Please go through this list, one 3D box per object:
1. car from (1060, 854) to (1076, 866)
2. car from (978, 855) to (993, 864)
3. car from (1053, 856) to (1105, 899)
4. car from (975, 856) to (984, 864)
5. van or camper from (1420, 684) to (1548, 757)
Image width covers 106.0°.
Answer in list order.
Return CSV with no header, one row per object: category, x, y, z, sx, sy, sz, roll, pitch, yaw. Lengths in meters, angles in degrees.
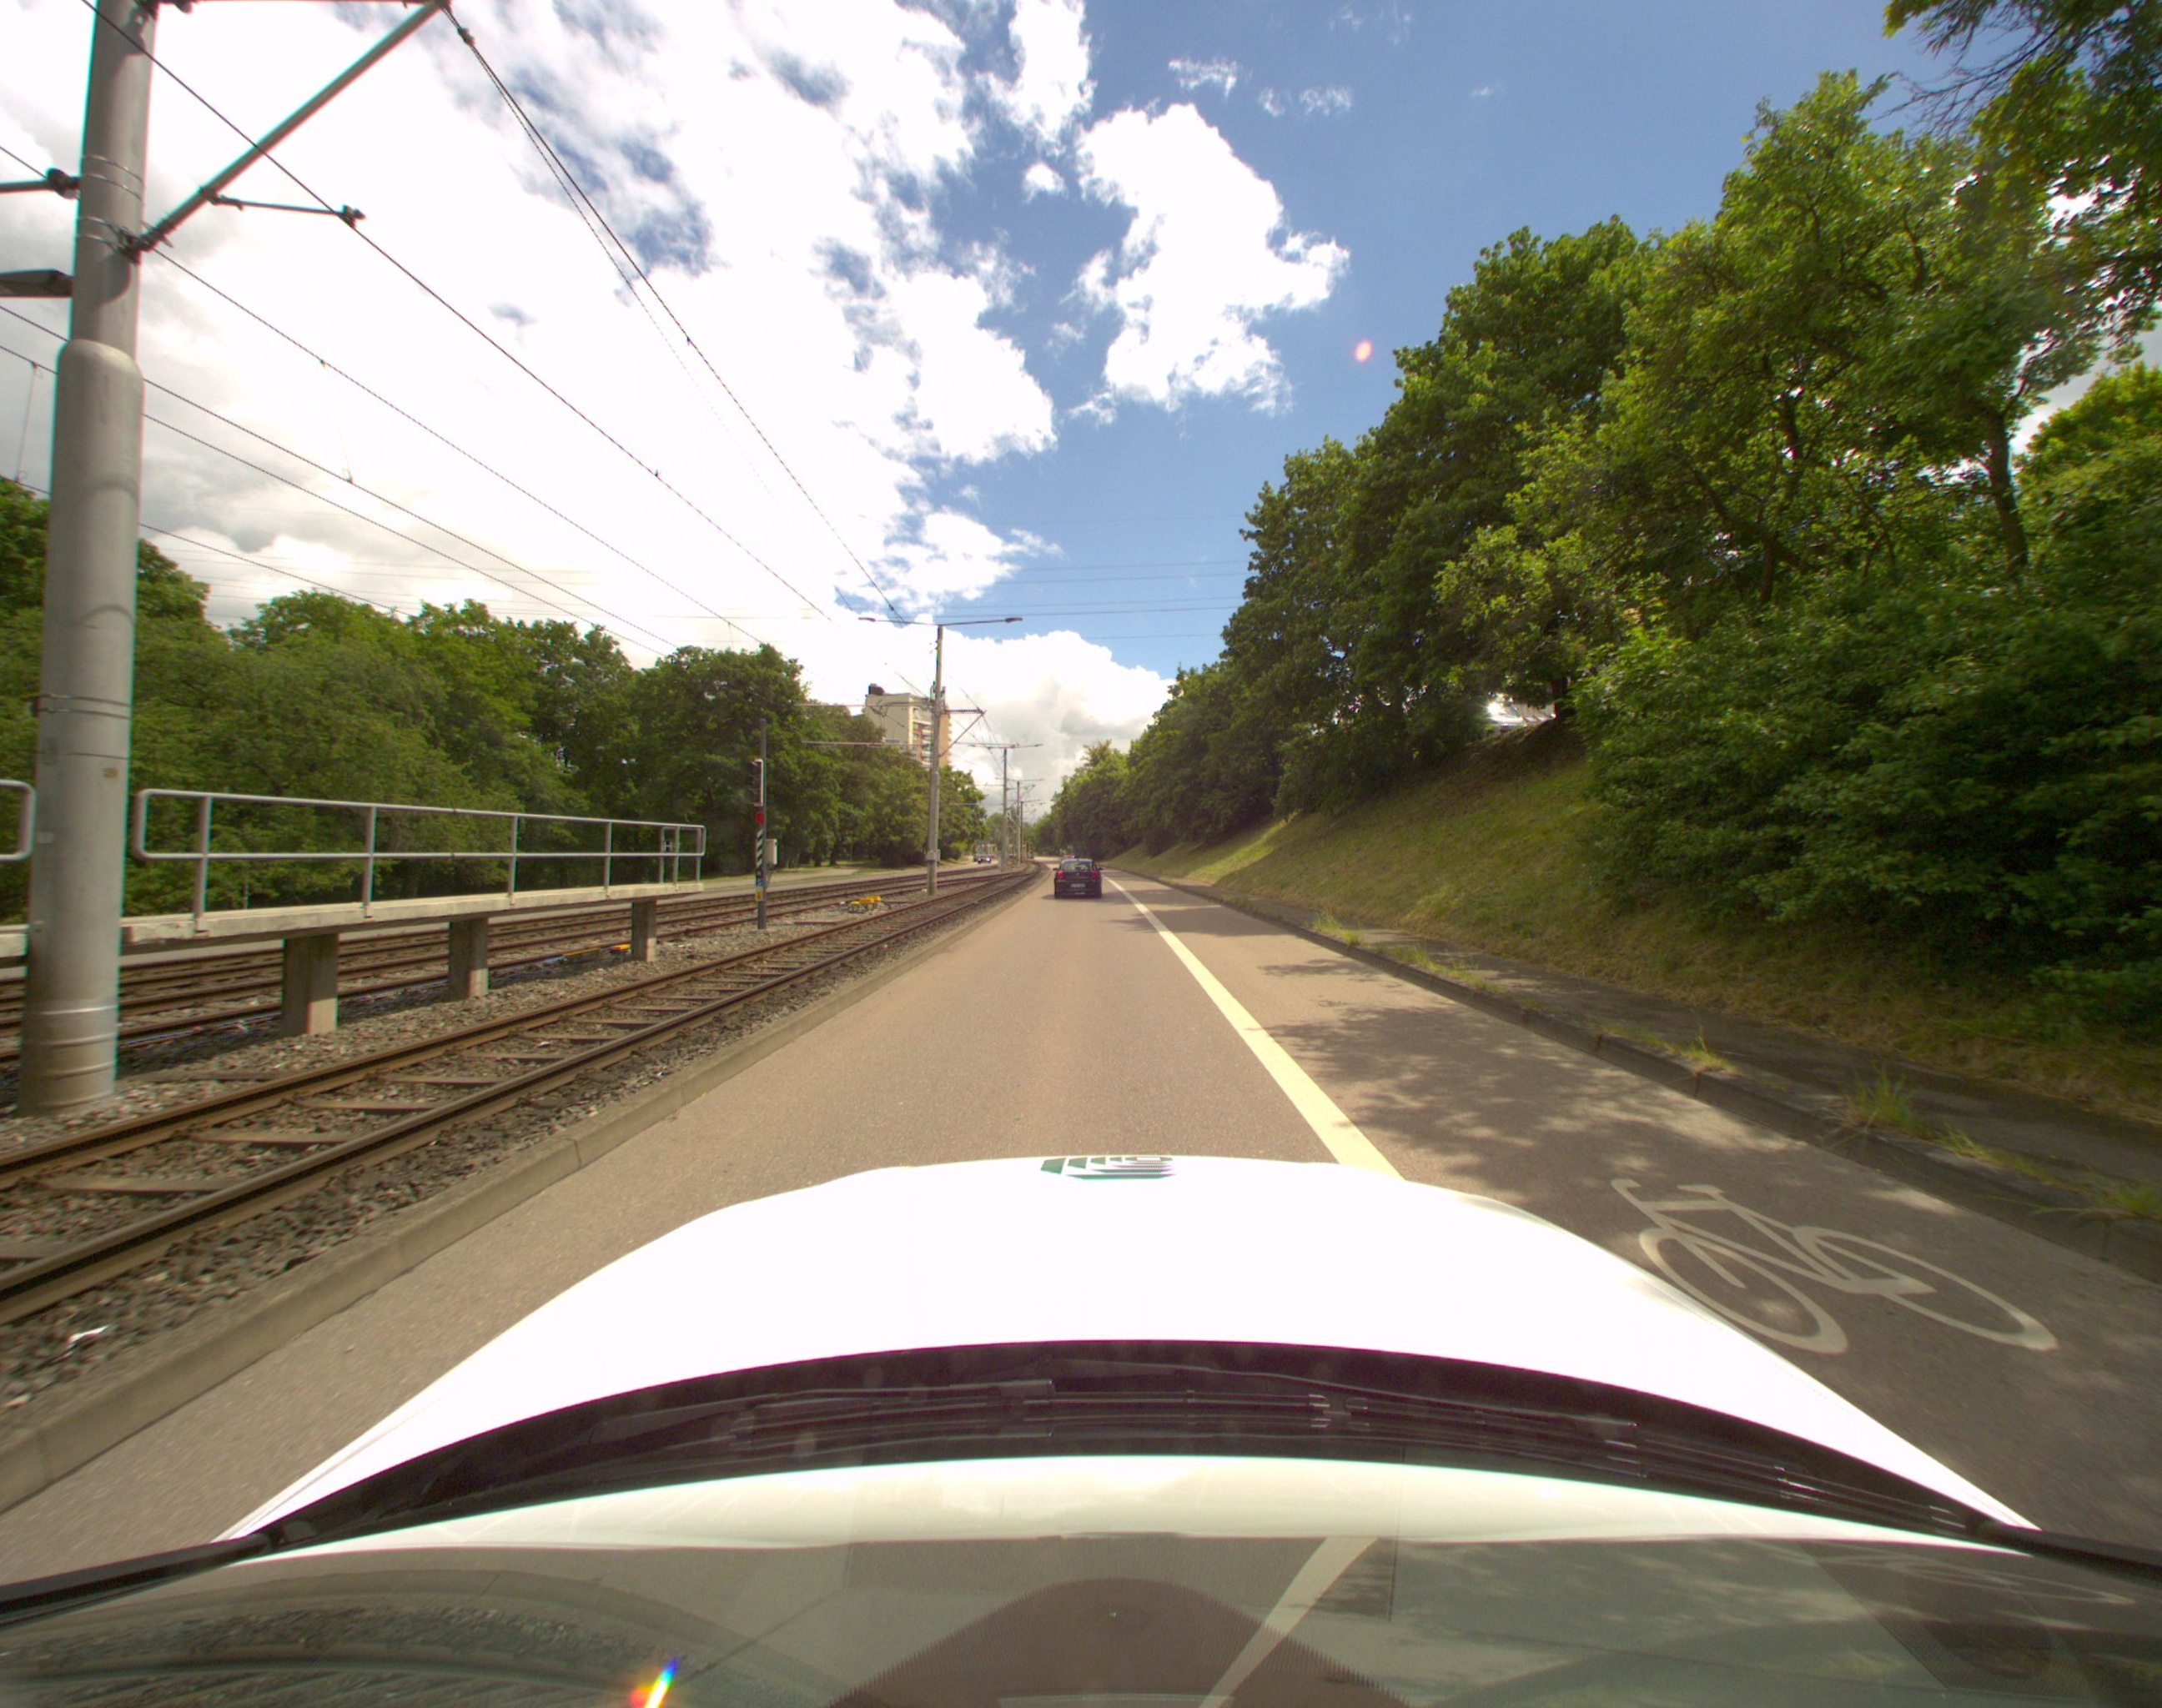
car,-1.598,0.738,97.896,1.778,1.459,3.915,0,0,-4
car,-15.275,0.925,130.996,1.830,1.391,4.860,-2,0,-1
car,-0.138,0.819,30.302,1.777,1.459,3.917,-1,0,-3
car,-20.042,1.152,161.410,1.772,1.498,3.988,0,0,-7
van or camper,16.941,-5.568,34.687,2.211,2.069,6.157,-1,0,-2
